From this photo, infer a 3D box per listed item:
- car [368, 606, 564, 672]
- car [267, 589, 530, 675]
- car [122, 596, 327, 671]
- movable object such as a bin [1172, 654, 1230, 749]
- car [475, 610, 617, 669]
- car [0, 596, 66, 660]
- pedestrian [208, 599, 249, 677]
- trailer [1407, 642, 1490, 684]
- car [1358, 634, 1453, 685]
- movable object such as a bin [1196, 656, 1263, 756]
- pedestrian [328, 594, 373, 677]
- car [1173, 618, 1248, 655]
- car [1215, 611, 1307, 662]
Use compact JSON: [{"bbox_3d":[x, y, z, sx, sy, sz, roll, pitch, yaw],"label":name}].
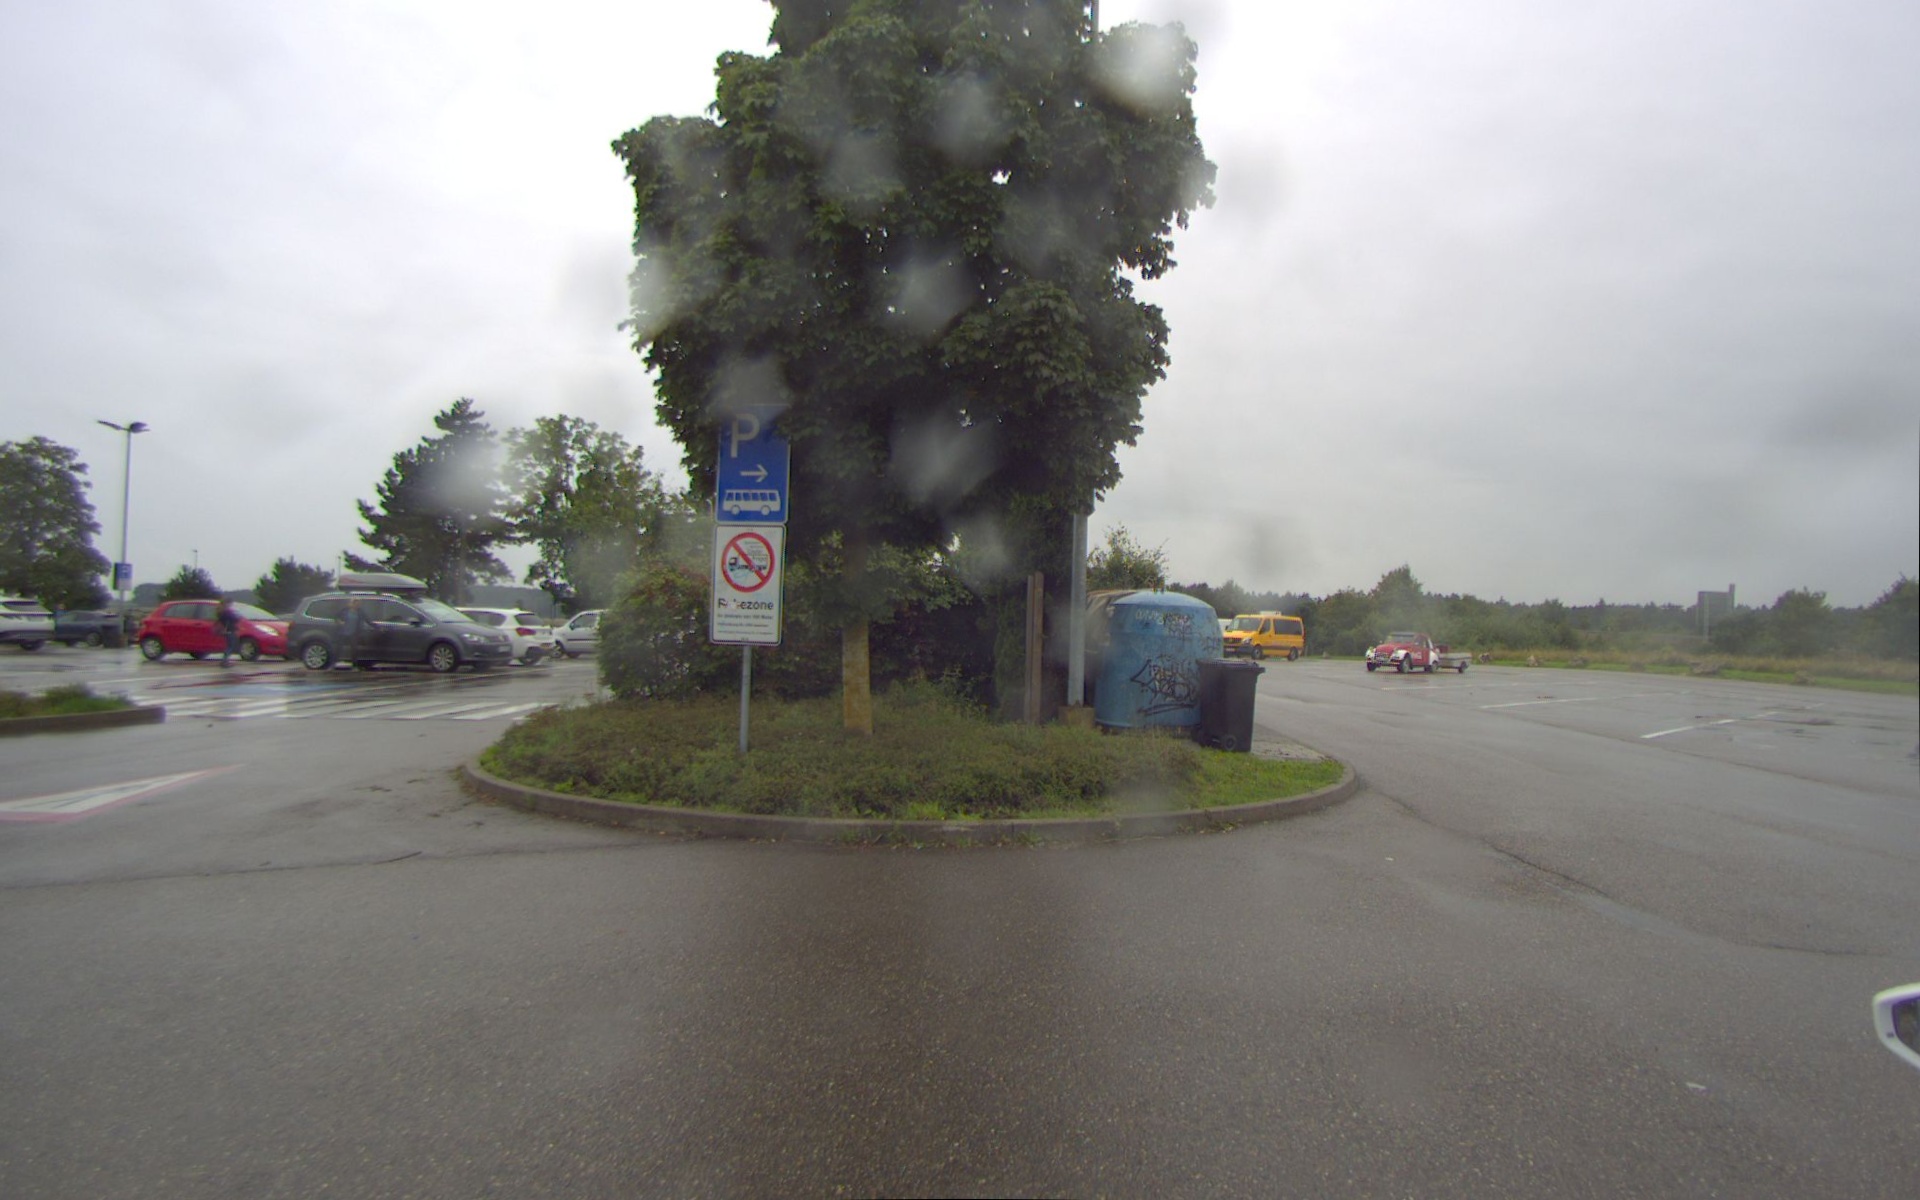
[{"bbox_3d":[-12.481,0.956,25.530,4.114,1.537,1.744,1,0,3],"label":"car"},{"bbox_3d":[-12.675,0.716,22.909,4.853,1.816,2.000,1,0,1],"label":"car"},{"bbox_3d":[-18.967,0.849,26.030,3.943,1.816,1.851,1,0,1],"label":"car"},{"bbox_3d":[2.574,1.074,10.730,0.400,0.961,0.448,2,0,45],"label":"movable object such as a bin"},{"bbox_3d":[-13.902,1.327,33.866,3.943,1.886,1.852,1,-3,1],"label":"car"},{"bbox_3d":[-30.292,0.857,30.722,4.282,1.886,1.721,1,-3,1],"label":"car"},{"bbox_3d":[-16.026,0.832,22.003,0.641,1.660,0.708,2,-3,-41],"label":"pedestrian"},{"bbox_3d":[19.776,2.527,40.582,3.971,1.553,1.680,3,-2,-42],"label":"trailer"},{"bbox_3d":[16.831,2.239,37.912,3.970,1.800,1.806,4,-3,-42],"label":"car"},{"bbox_3d":[2.745,1.076,10.255,0.466,0.961,0.433,2,0,-21],"label":"movable object such as a bin"},{"bbox_3d":[-13.063,0.767,21.550,0.674,1.747,0.608,3,-3,-24],"label":"pedestrian"},{"bbox_3d":[16.692,2.440,66.947,4.714,2.230,1.985,3,0,-28],"label":"car"},{"bbox_3d":[15.542,1.911,51.680,1.973,2.410,5.989,-2,-4,45],"label":"car"}]
